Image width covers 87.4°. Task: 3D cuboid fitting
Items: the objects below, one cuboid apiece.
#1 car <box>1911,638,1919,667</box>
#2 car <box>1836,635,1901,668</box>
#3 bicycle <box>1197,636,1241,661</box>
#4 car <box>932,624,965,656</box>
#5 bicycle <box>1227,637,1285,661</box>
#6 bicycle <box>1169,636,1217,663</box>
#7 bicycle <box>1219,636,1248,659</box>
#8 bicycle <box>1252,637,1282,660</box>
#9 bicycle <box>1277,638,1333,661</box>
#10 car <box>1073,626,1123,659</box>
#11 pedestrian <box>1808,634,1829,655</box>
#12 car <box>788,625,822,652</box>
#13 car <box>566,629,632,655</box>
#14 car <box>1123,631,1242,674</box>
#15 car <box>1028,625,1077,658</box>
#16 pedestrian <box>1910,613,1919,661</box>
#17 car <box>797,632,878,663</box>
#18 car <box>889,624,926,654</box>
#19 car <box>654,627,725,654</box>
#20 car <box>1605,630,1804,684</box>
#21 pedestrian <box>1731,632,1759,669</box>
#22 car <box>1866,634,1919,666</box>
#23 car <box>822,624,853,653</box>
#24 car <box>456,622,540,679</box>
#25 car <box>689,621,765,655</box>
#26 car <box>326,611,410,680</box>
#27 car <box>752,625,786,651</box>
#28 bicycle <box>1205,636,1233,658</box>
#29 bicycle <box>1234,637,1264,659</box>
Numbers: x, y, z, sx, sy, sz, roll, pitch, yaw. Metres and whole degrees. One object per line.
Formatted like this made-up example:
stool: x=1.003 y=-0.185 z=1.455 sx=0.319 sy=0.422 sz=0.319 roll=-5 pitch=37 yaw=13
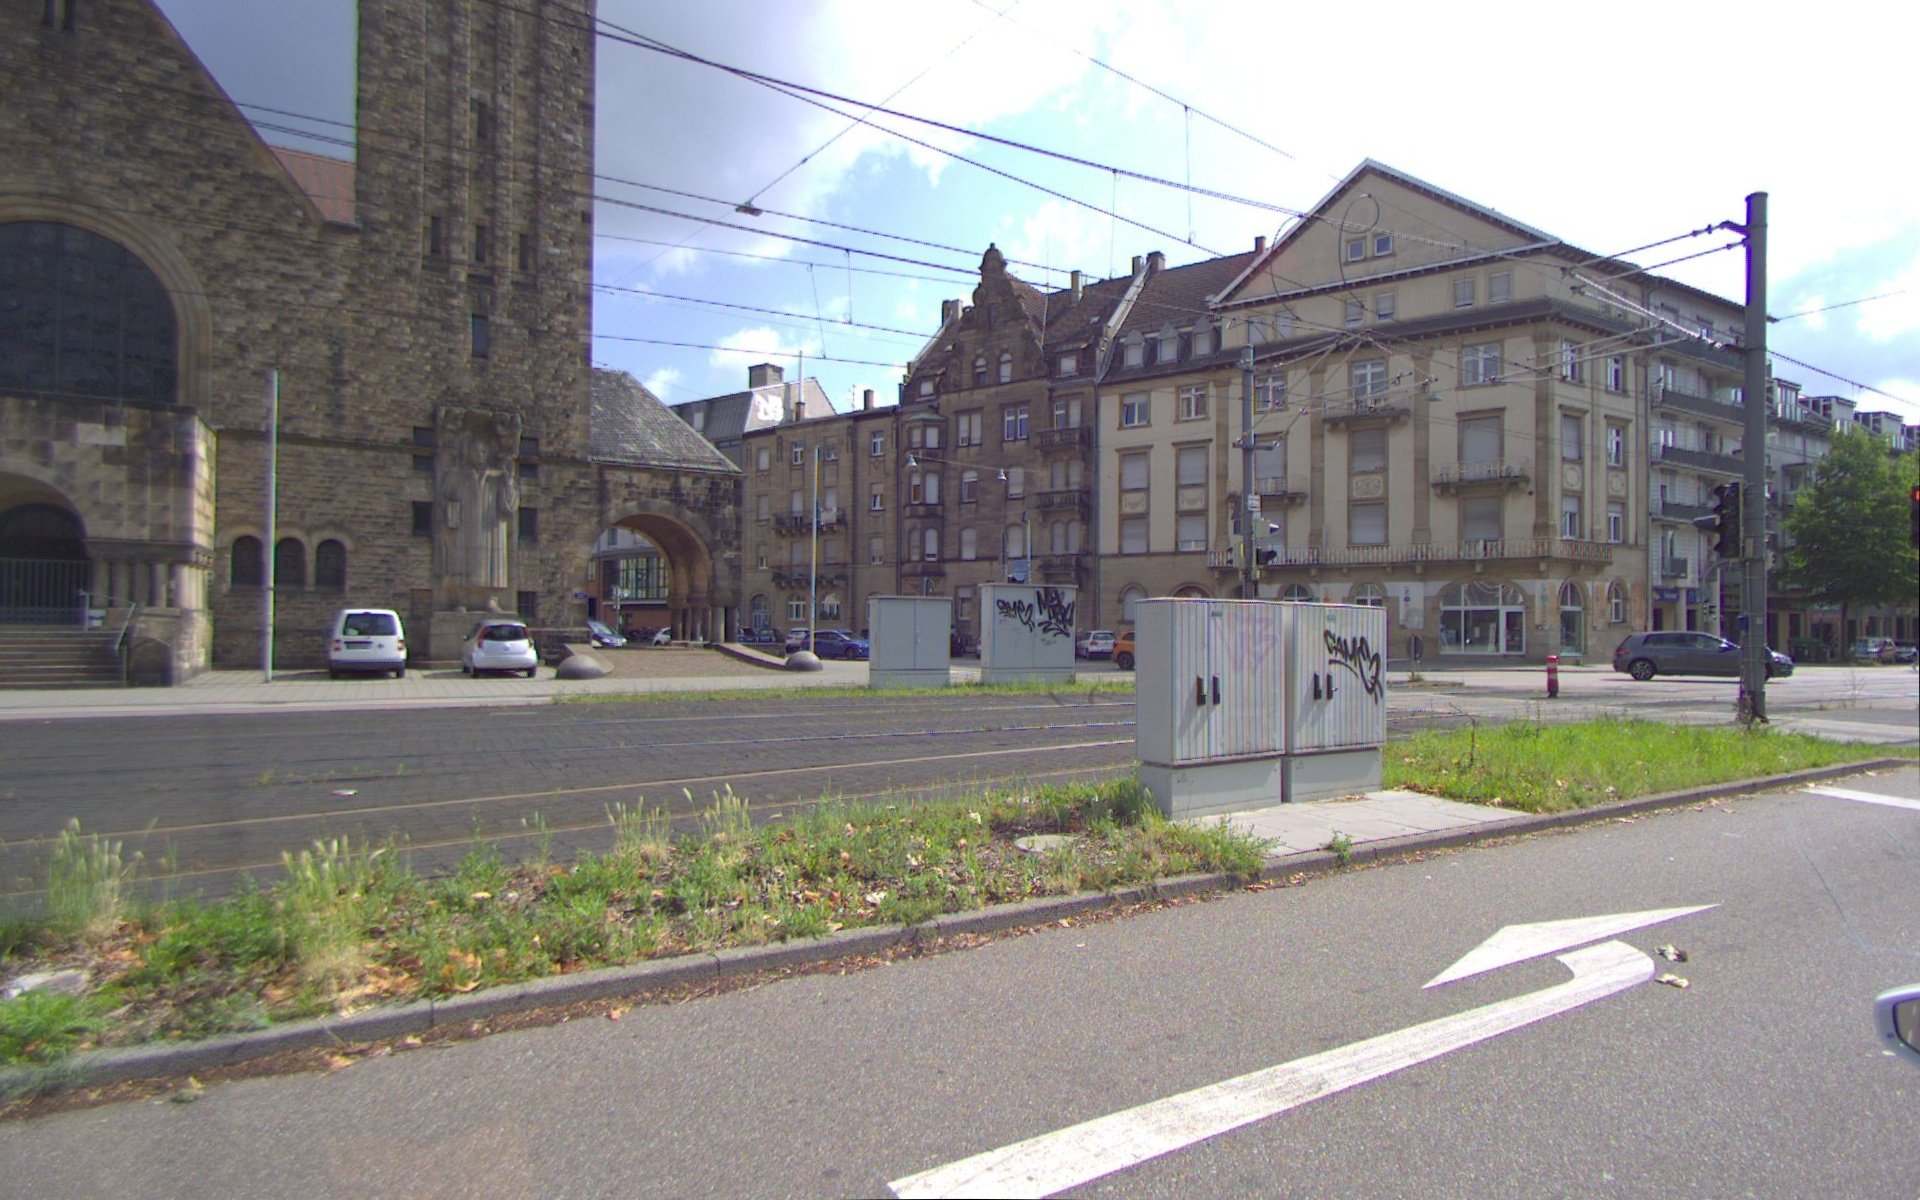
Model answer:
car: x=69.358 y=3.727 z=71.044 sx=3.953 sy=2.040 sz=1.984 roll=1 pitch=-2 yaw=-30
car: x=58.129 y=3.247 z=64.294 sx=3.953 sy=2.040 sz=1.984 roll=1 pitch=-2 yaw=-30
bicycle: x=12.227 y=2.272 z=47.398 sx=1.939 sy=1.129 sz=0.487 roll=-1 pitch=-2 yaw=24
car: x=-0.630 y=2.301 z=58.353 sx=1.850 sy=1.782 sz=4.001 roll=0 pitch=-2 yaw=1
bicycle: x=13.922 y=2.302 z=47.224 sx=2.522 sy=1.067 sz=0.680 roll=-1 pitch=-2 yaw=33
bicycle: x=11.514 y=2.420 z=49.761 sx=0.982 sy=1.270 sz=3.313 roll=0 pitch=-2 yaw=-13
bicycle: x=13.501 y=2.322 z=49.586 sx=0.729 sy=1.067 sz=2.561 roll=-1 pitch=-2 yaw=31
bicycle: x=14.879 y=2.336 z=48.662 sx=0.792 sy=1.067 sz=2.561 roll=-1 pitch=-2 yaw=31
bicycle: x=16.348 y=2.342 z=47.573 sx=2.525 sy=1.067 sz=0.803 roll=1 pitch=-2 yaw=-18
car: x=7.259 y=2.205 z=53.057 sx=1.768 sy=1.661 sz=3.998 roll=0 pitch=-2 yaw=-5
pedestrian: x=50.329 y=2.608 z=58.869 sx=0.695 sy=1.227 sz=0.750 roll=1 pitch=-2 yaw=-30
car: x=-10.026 y=2.481 z=65.051 sx=1.686 sy=1.706 sz=4.000 roll=0 pitch=-2 yaw=-2
car: x=-20.667 y=2.369 z=57.423 sx=3.719 sy=1.449 sz=1.709 roll=-1 pitch=-2 yaw=34
car: x=8.623 y=2.017 z=39.157 sx=4.258 sy=1.567 sz=1.625 roll=-1 pitch=-2 yaw=37
car: x=4.972 y=2.223 z=54.259 sx=1.962 sy=1.695 sz=3.998 roll=0 pitch=-2 yaw=-5
pedestrian: x=40.885 y=1.557 z=42.794 sx=0.415 sy=2.040 sz=0.474 roll=1 pitch=-2 yaw=-35
car: x=-6.071 y=2.326 z=49.560 sx=3.933 sy=1.449 sz=1.532 roll=-1 pitch=-2 yaw=34
car: x=-3.124 y=2.330 z=60.220 sx=1.960 sy=1.760 sz=4.001 roll=0 pitch=-2 yaw=1
car: x=-15.229 y=2.244 z=56.463 sx=4.122 sy=1.449 sz=1.532 roll=-1 pitch=-2 yaw=34
car: x=21.390 y=1.593 z=29.044 sx=4.498 sy=1.455 sz=1.700 roll=-1 pitch=-2 yaw=37
pedestrian: x=35.084 y=2.234 z=44.887 sx=0.846 sy=1.617 sz=0.693 roll=0 pitch=-1 yaw=25
car: x=62.206 y=3.281 z=66.621 sx=3.953 sy=2.040 sz=1.984 roll=1 pitch=-2 yaw=-30
car: x=-7.708 y=2.412 z=63.390 sx=1.617 sy=1.718 sz=3.859 roll=0 pitch=-2 yaw=-2
car: x=-13.291 y=1.411 z=28.817 sx=1.833 sy=1.522 sz=3.249 roll=1 pitch=-2 yaw=-31
car: x=-14.525 y=2.345 z=62.598 sx=4.727 sy=2.040 sz=1.994 roll=-1 pitch=-2 yaw=35
car: x=-16.454 y=1.217 z=27.840 sx=1.874 sy=1.771 sz=3.849 roll=1 pitch=-2 yaw=-32
car: x=-12.759 y=2.556 z=67.348 sx=1.653 sy=1.697 sz=4.000 roll=0 pitch=-2 yaw=-2
bicycle: x=13.022 y=2.323 z=50.383 sx=0.729 sy=1.067 sz=2.360 roll=-1 pitch=-2 yaw=31
bicycle: x=14.163 y=2.329 z=49.114 sx=0.792 sy=1.067 sz=2.561 roll=-1 pitch=-2 yaw=31
